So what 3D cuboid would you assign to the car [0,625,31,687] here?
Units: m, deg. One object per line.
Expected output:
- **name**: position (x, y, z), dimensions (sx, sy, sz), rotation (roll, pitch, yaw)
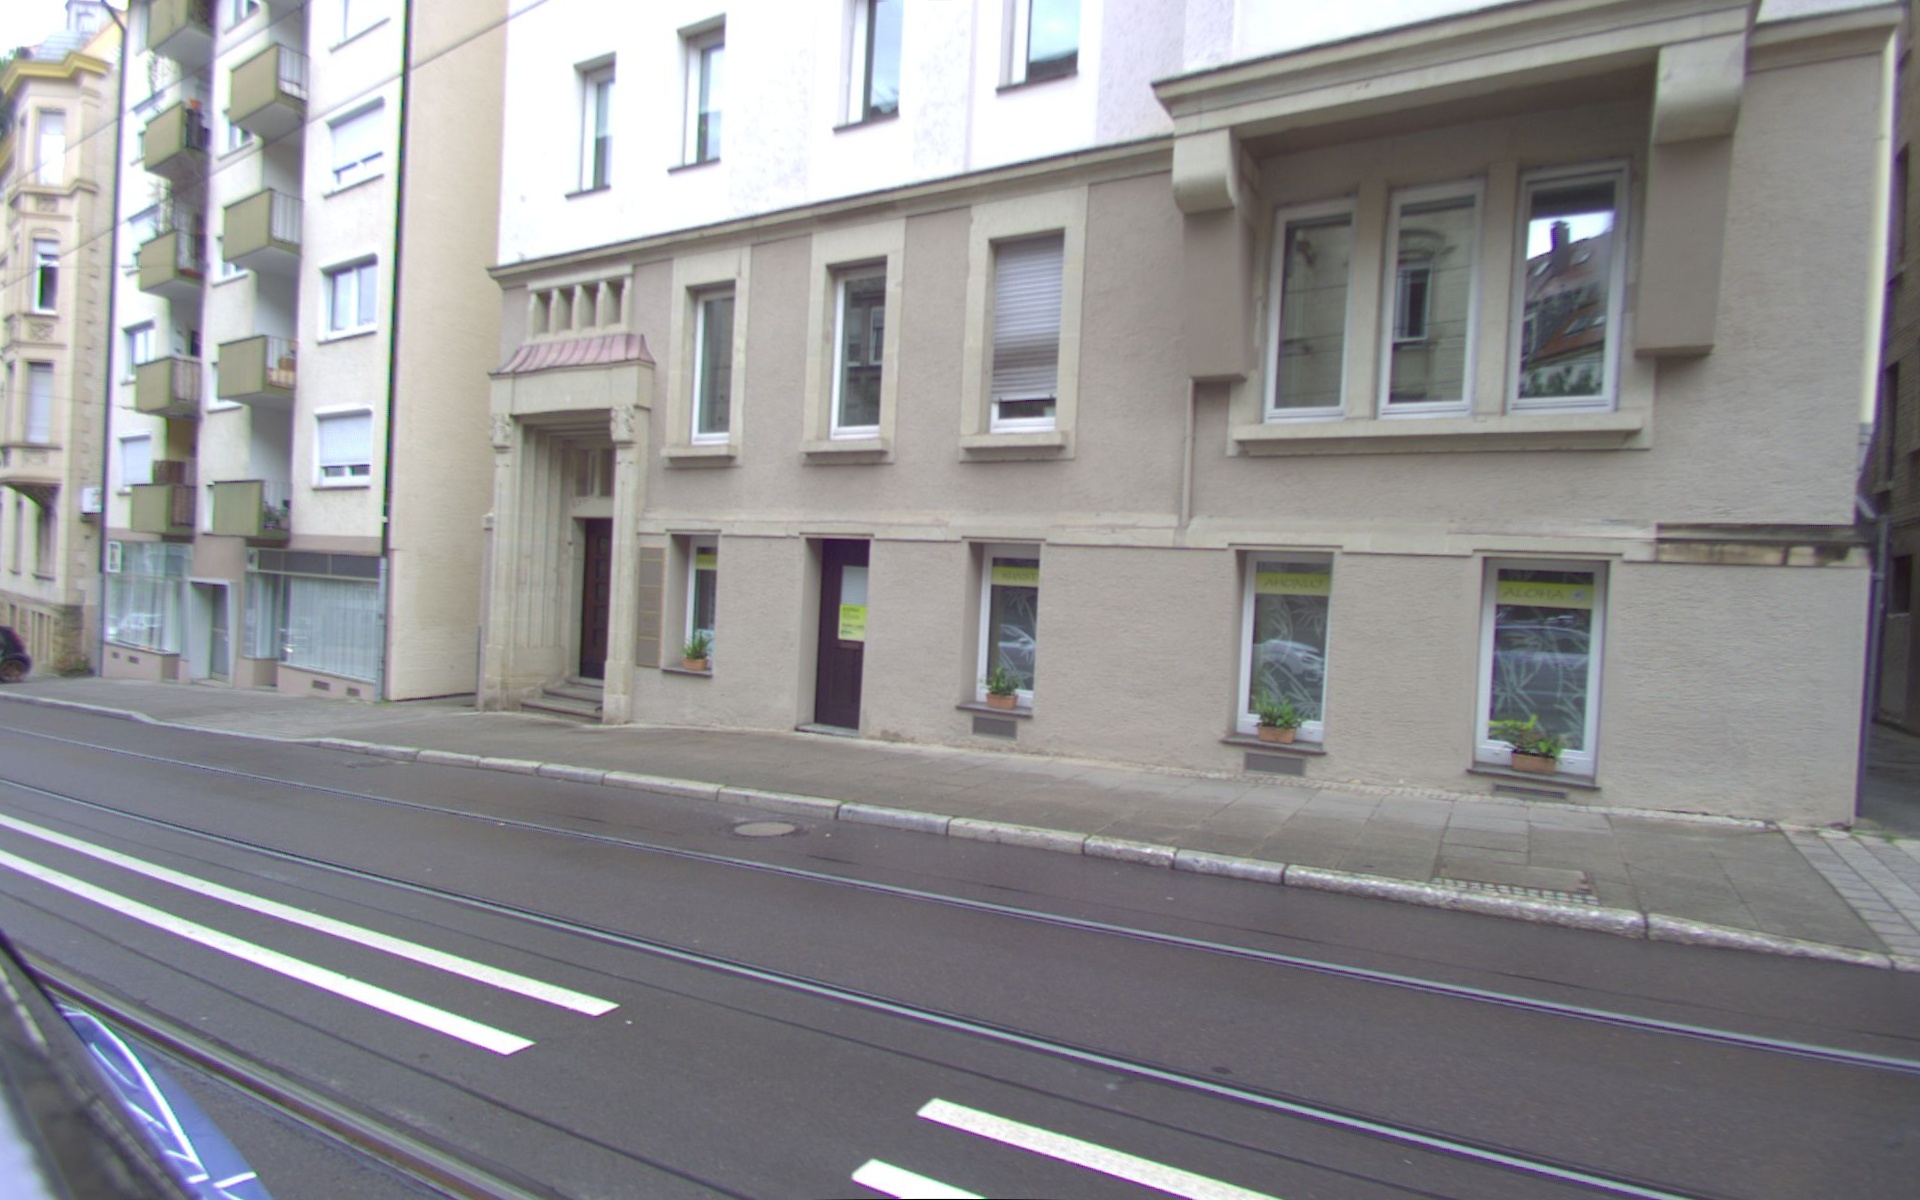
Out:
- **car**: position (-24.212, 1.289, 23.177), dimensions (1.731, 1.465, 3.965), rotation (-1, -2, 25)
